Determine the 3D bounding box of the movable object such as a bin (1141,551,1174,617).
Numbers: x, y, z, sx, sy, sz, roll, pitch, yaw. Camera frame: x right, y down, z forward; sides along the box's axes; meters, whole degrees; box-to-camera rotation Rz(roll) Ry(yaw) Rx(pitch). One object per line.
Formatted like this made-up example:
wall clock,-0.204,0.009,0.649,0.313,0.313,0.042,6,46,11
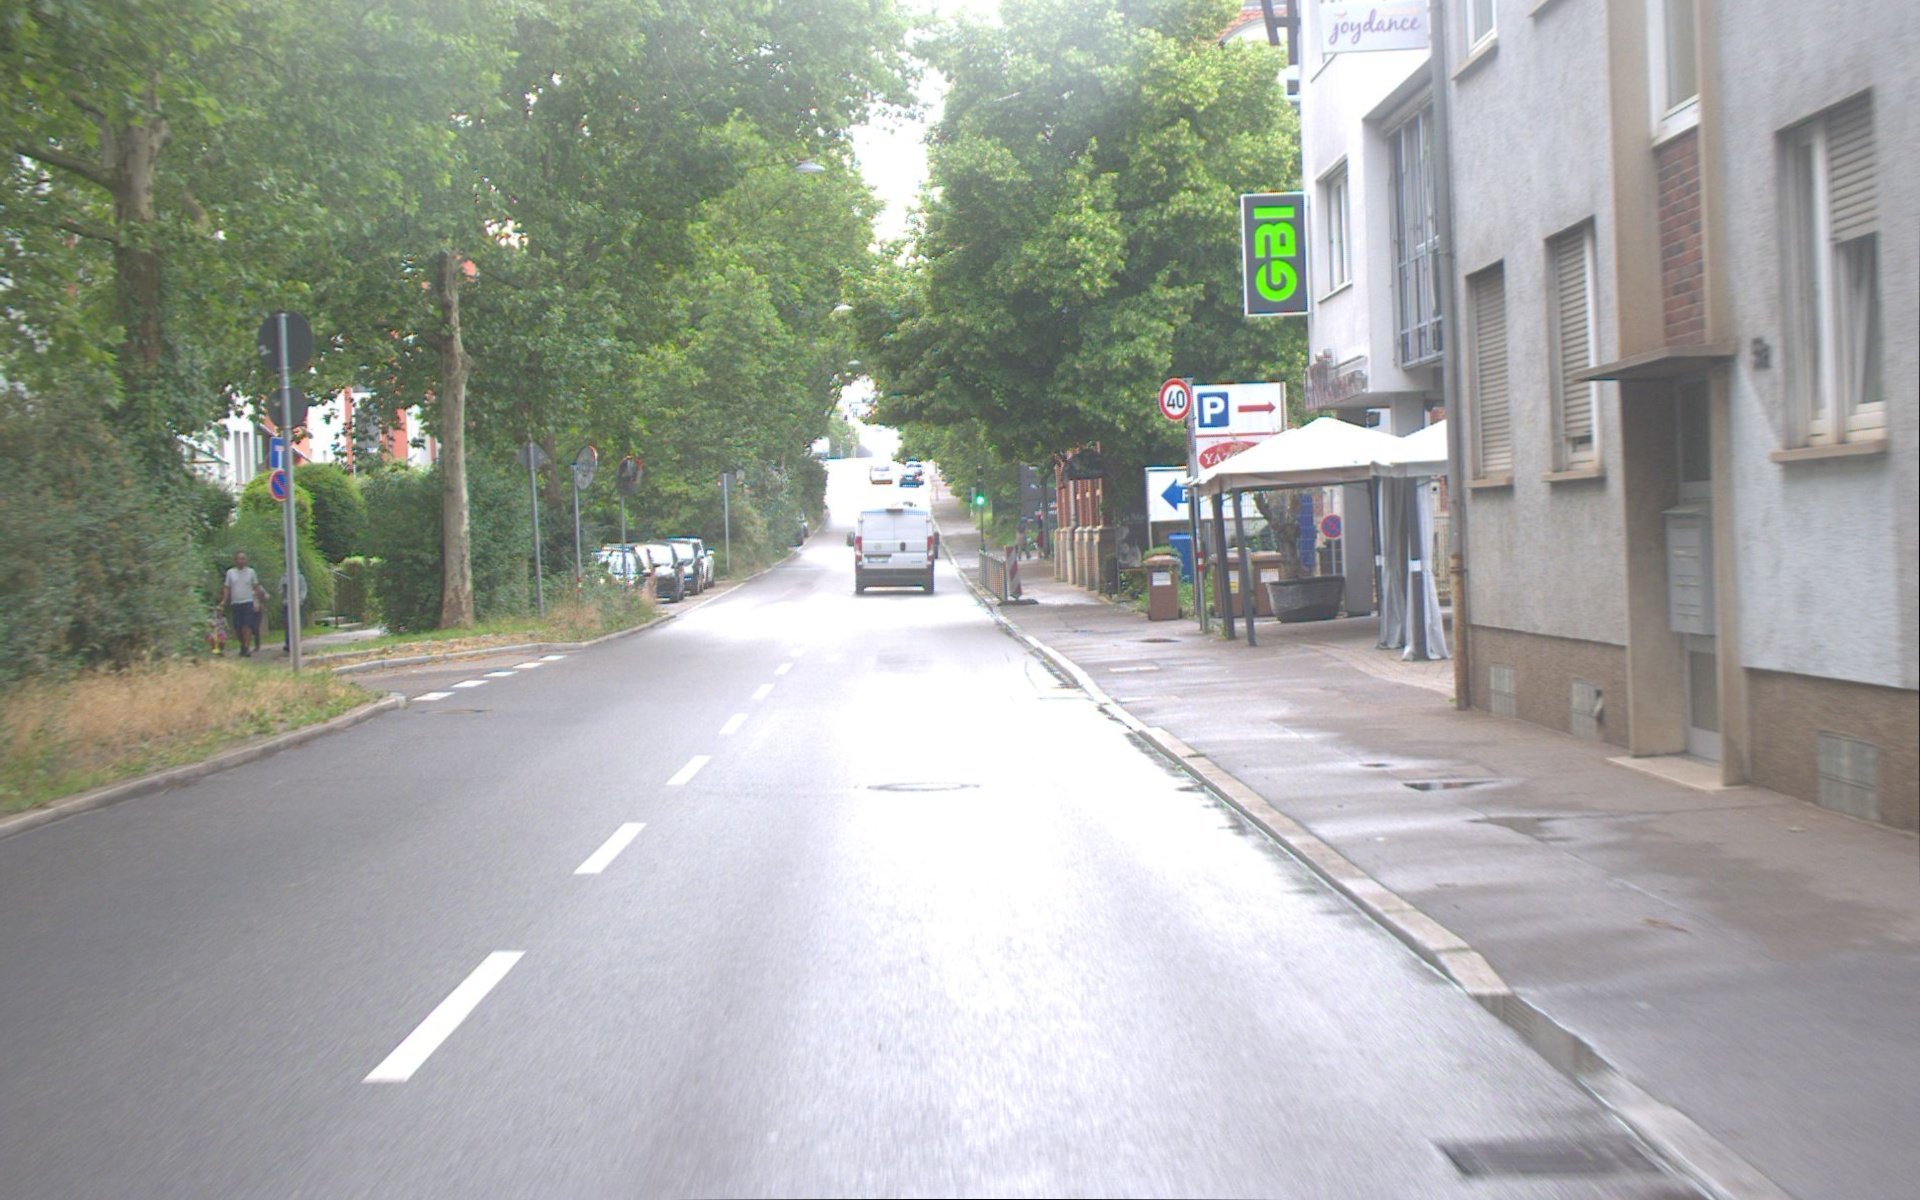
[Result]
movable object such as a bin,3.291,-0.261,57.225,0.399,1.063,0.358,-5,0,-7

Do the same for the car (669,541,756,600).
car,-7.564,-0.891,105.493,2.215,1.685,4.609,0,-1,1

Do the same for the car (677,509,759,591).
car,-7.752,-1.590,110.702,2.215,2.525,4.609,0,-1,1

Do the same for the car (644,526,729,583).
car,-7.880,-1.292,99.337,1.995,1.538,4.609,0,-1,1

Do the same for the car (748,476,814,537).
car,-7.206,-3.766,139.055,2.216,2.286,4.609,0,-1,3

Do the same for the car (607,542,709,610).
car,-8.106,-0.617,92.633,2.215,1.723,4.609,0,-1,1

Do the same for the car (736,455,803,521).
car,-7.258,-4.261,131.525,2.215,2.286,4.609,0,-1,1

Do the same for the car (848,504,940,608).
car,-1.697,-1.121,89.432,2.282,2.544,4.000,-1,-1,-1

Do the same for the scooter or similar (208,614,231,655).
scooter or similar,-12.111,0.565,56.259,0.307,0.678,0.388,0,-1,-3

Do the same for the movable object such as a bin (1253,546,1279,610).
movable object such as a bin,5.096,-0.362,57.310,0.356,1.063,0.358,0,-1,-7

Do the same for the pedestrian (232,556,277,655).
pedestrian,-11.557,0.096,56.315,0.638,1.606,0.623,0,-1,-3

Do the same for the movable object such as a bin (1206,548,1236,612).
movable object such as a bin,4.346,-0.334,57.254,0.399,1.063,0.358,-1,-1,-7

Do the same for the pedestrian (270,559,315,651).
pedestrian,-11.417,0.085,58.814,0.681,1.565,0.623,0,0,-3

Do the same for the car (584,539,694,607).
car,-8.022,-0.653,86.208,2.215,1.587,4.609,0,-1,1
